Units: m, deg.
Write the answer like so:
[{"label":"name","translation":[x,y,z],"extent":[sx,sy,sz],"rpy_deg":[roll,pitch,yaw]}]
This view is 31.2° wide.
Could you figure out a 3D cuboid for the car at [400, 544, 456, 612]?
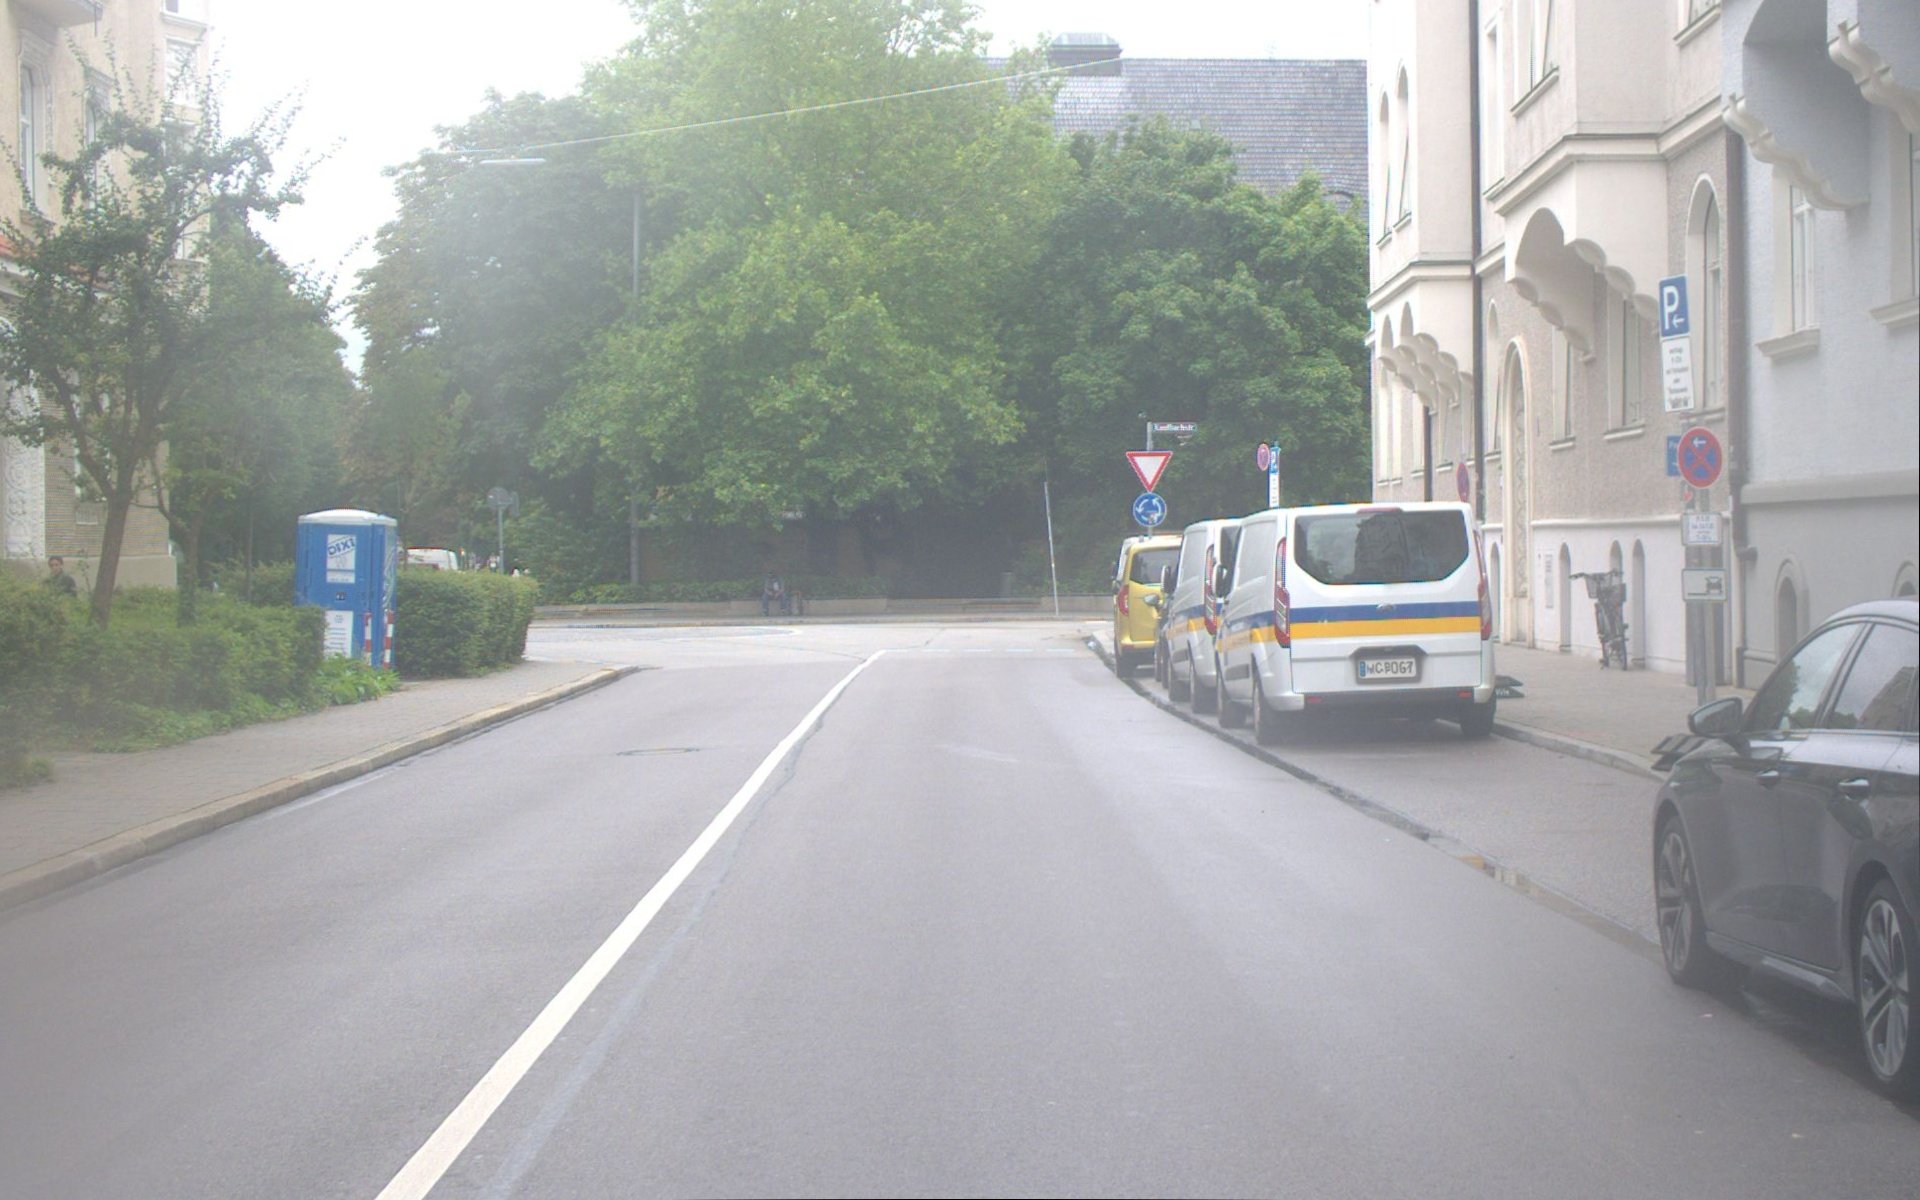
[{"label":"car","translation":[-20.725,-0.856,133.764],"extent":[2.041,2.549,5.249],"rpy_deg":[-1,1,-10]}]

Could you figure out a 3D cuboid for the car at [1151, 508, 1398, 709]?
[{"label":"car","translation":[3.221,0.052,36.168],"extent":[1.959,1.930,4.993],"rpy_deg":[-1,1,-2]}]

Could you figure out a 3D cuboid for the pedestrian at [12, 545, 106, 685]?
[{"label":"pedestrian","translation":[-11.465,0.180,43.774],"extent":[0.913,1.745,0.948],"rpy_deg":[-1,0,0]}]

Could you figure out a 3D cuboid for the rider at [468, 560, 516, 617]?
[{"label":"rider","translation":[-14.027,-0.349,103.050],"extent":[1.082,1.662,1.139],"rpy_deg":[-3,0,8]}]

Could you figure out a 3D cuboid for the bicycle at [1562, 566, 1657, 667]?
[{"label":"bicycle","translation":[7.497,0.178,39.781],"extent":[0.694,1.090,2.037],"rpy_deg":[-3,1,1]}]

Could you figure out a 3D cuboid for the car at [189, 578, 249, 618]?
[{"label":"car","translation":[-30.030,-0.087,139.443],"extent":[1.895,1.566,4.075],"rpy_deg":[-1,0,-6]}]

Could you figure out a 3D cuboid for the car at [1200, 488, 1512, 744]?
[{"label":"car","translation":[3.340,0.094,29.969],"extent":[1.959,2.007,4.993],"rpy_deg":[-1,1,-2]}]

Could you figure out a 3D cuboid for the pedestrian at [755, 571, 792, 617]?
[{"label":"pedestrian","translation":[-4.797,-0.158,88.493],"extent":[0.812,1.185,0.919],"rpy_deg":[-1,1,6]}]

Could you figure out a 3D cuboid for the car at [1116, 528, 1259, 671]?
[{"label":"car","translation":[3.093,-0.040,47.358],"extent":[1.850,1.846,4.820],"rpy_deg":[-1,1,3]}]

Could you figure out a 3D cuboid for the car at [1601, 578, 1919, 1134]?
[{"label":"car","translation":[3.362,0.661,10.981],"extent":[1.753,1.429,4.087],"rpy_deg":[-1,1,-1]}]
